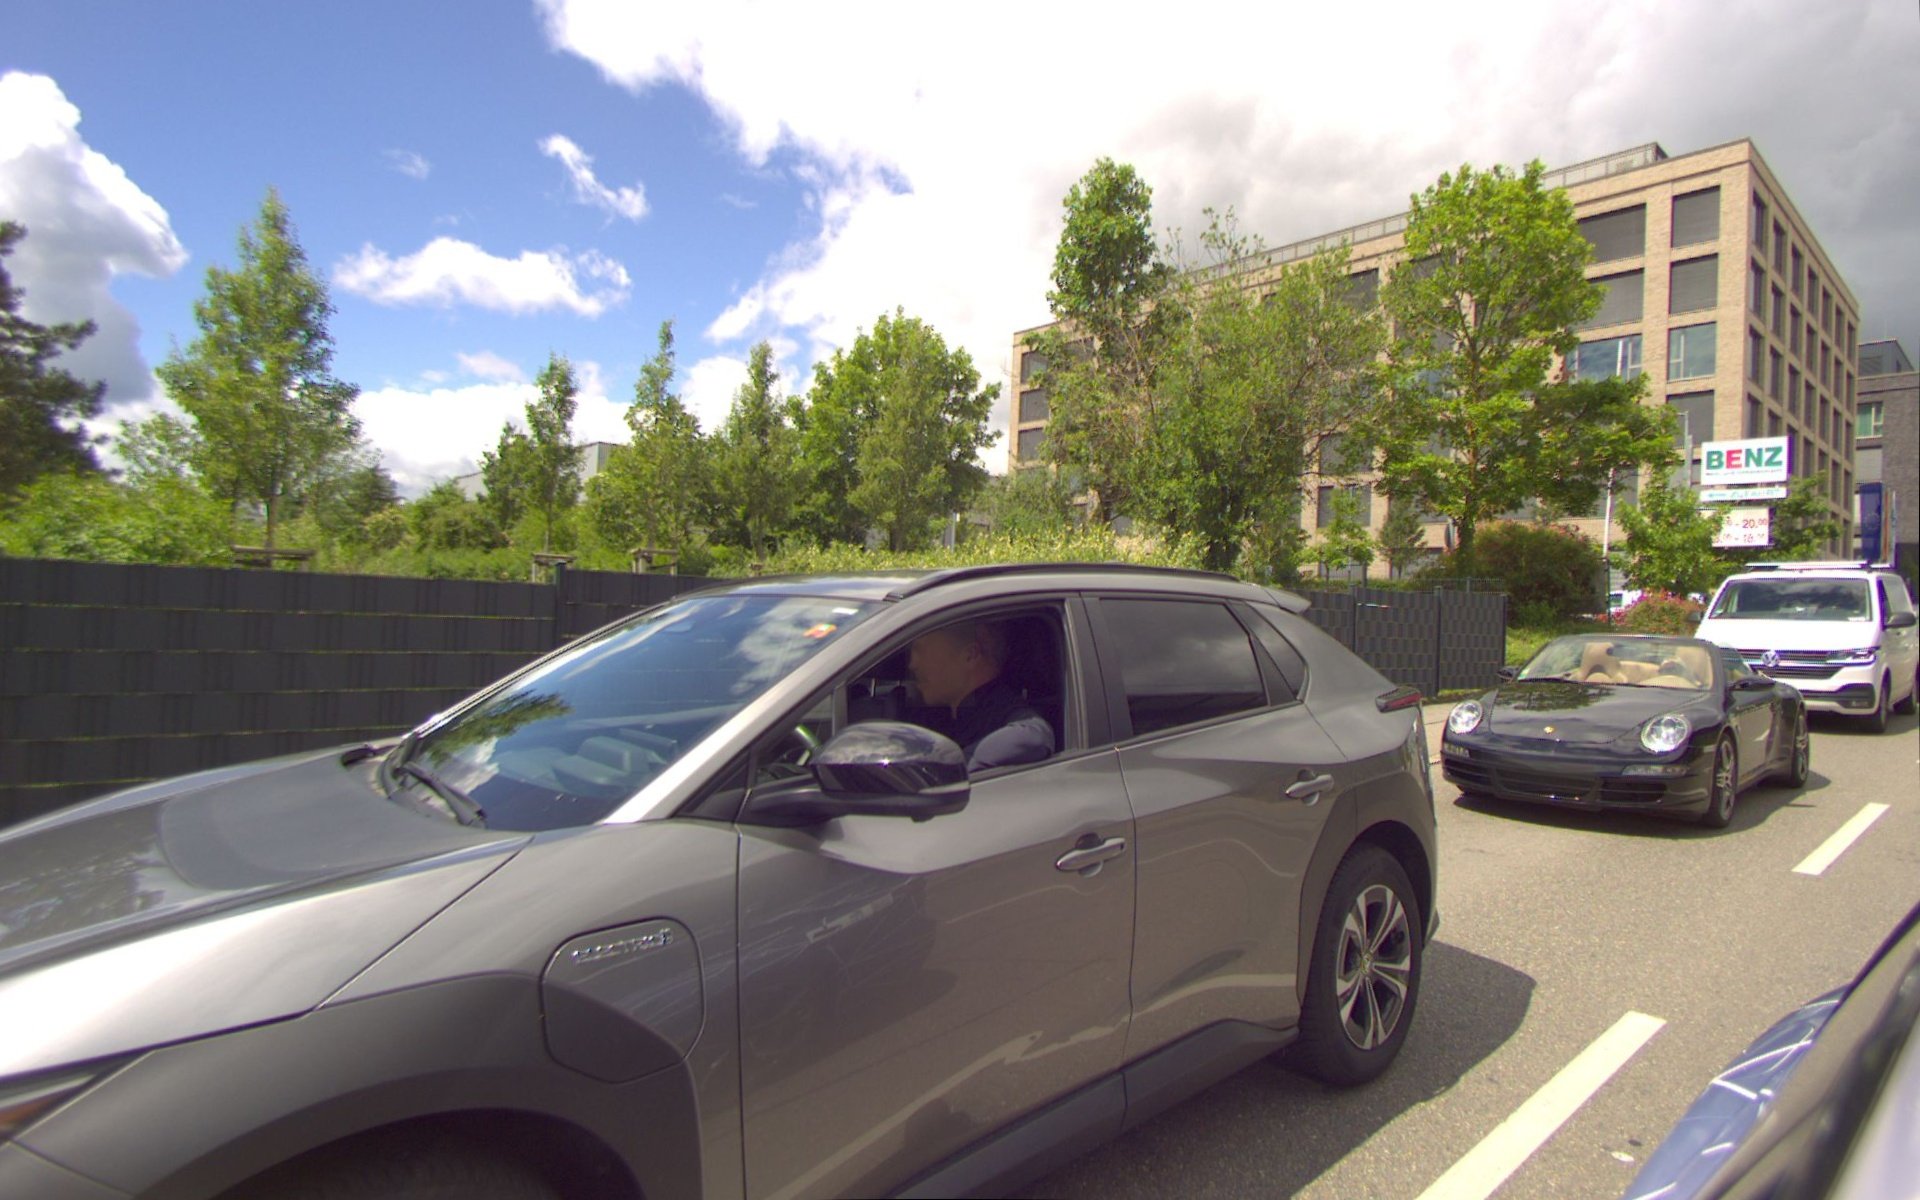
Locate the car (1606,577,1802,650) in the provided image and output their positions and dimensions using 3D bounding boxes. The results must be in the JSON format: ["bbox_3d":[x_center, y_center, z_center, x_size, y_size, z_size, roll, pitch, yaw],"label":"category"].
[{"bbox_3d":[19.910,0.303,27.204,1.793,1.754,3.991,0,2,-44],"label":"car"}]

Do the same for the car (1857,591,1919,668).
[{"bbox_3d":[20.237,0.579,21.070,3.930,1.481,1.817,0,2,-41],"label":"car"}]

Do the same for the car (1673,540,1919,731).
[{"bbox_3d":[11.334,0.374,13.347,4.677,2.075,2.087,0,0,-41],"label":"car"}]

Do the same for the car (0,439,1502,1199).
[{"bbox_3d":[-0.370,0.636,2.937,4.501,1.649,1.997,0,1,-42],"label":"car"}]

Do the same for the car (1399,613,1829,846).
[{"bbox_3d":[5.286,0.791,7.985,3.967,1.310,1.823,0,0,-41],"label":"car"}]
